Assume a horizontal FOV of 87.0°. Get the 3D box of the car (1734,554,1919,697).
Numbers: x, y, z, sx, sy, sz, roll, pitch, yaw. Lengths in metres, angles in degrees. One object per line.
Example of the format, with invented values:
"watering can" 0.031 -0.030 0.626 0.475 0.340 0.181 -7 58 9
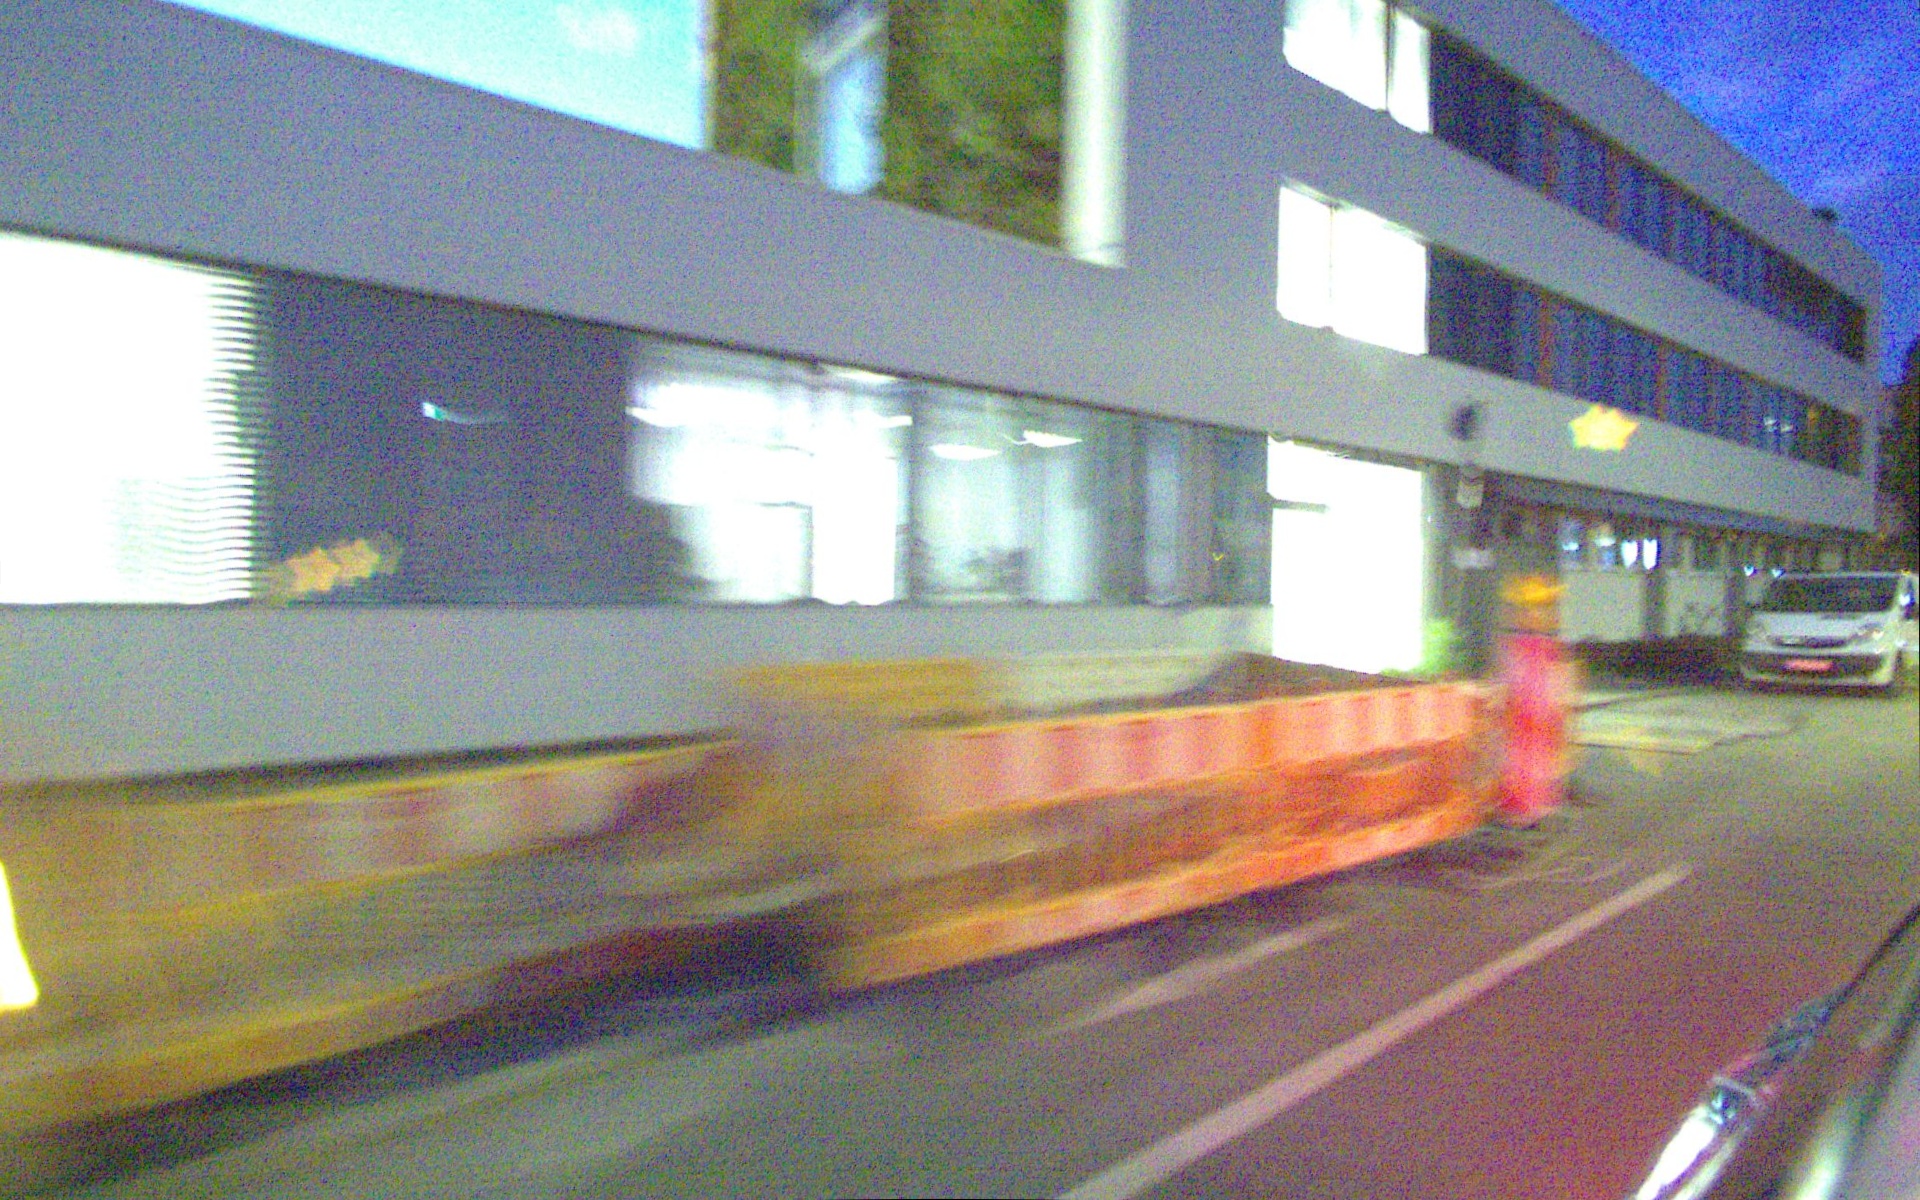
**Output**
"car" 14.835 0.325 16.638 4.819 2.038 2.000 0 2 -35
